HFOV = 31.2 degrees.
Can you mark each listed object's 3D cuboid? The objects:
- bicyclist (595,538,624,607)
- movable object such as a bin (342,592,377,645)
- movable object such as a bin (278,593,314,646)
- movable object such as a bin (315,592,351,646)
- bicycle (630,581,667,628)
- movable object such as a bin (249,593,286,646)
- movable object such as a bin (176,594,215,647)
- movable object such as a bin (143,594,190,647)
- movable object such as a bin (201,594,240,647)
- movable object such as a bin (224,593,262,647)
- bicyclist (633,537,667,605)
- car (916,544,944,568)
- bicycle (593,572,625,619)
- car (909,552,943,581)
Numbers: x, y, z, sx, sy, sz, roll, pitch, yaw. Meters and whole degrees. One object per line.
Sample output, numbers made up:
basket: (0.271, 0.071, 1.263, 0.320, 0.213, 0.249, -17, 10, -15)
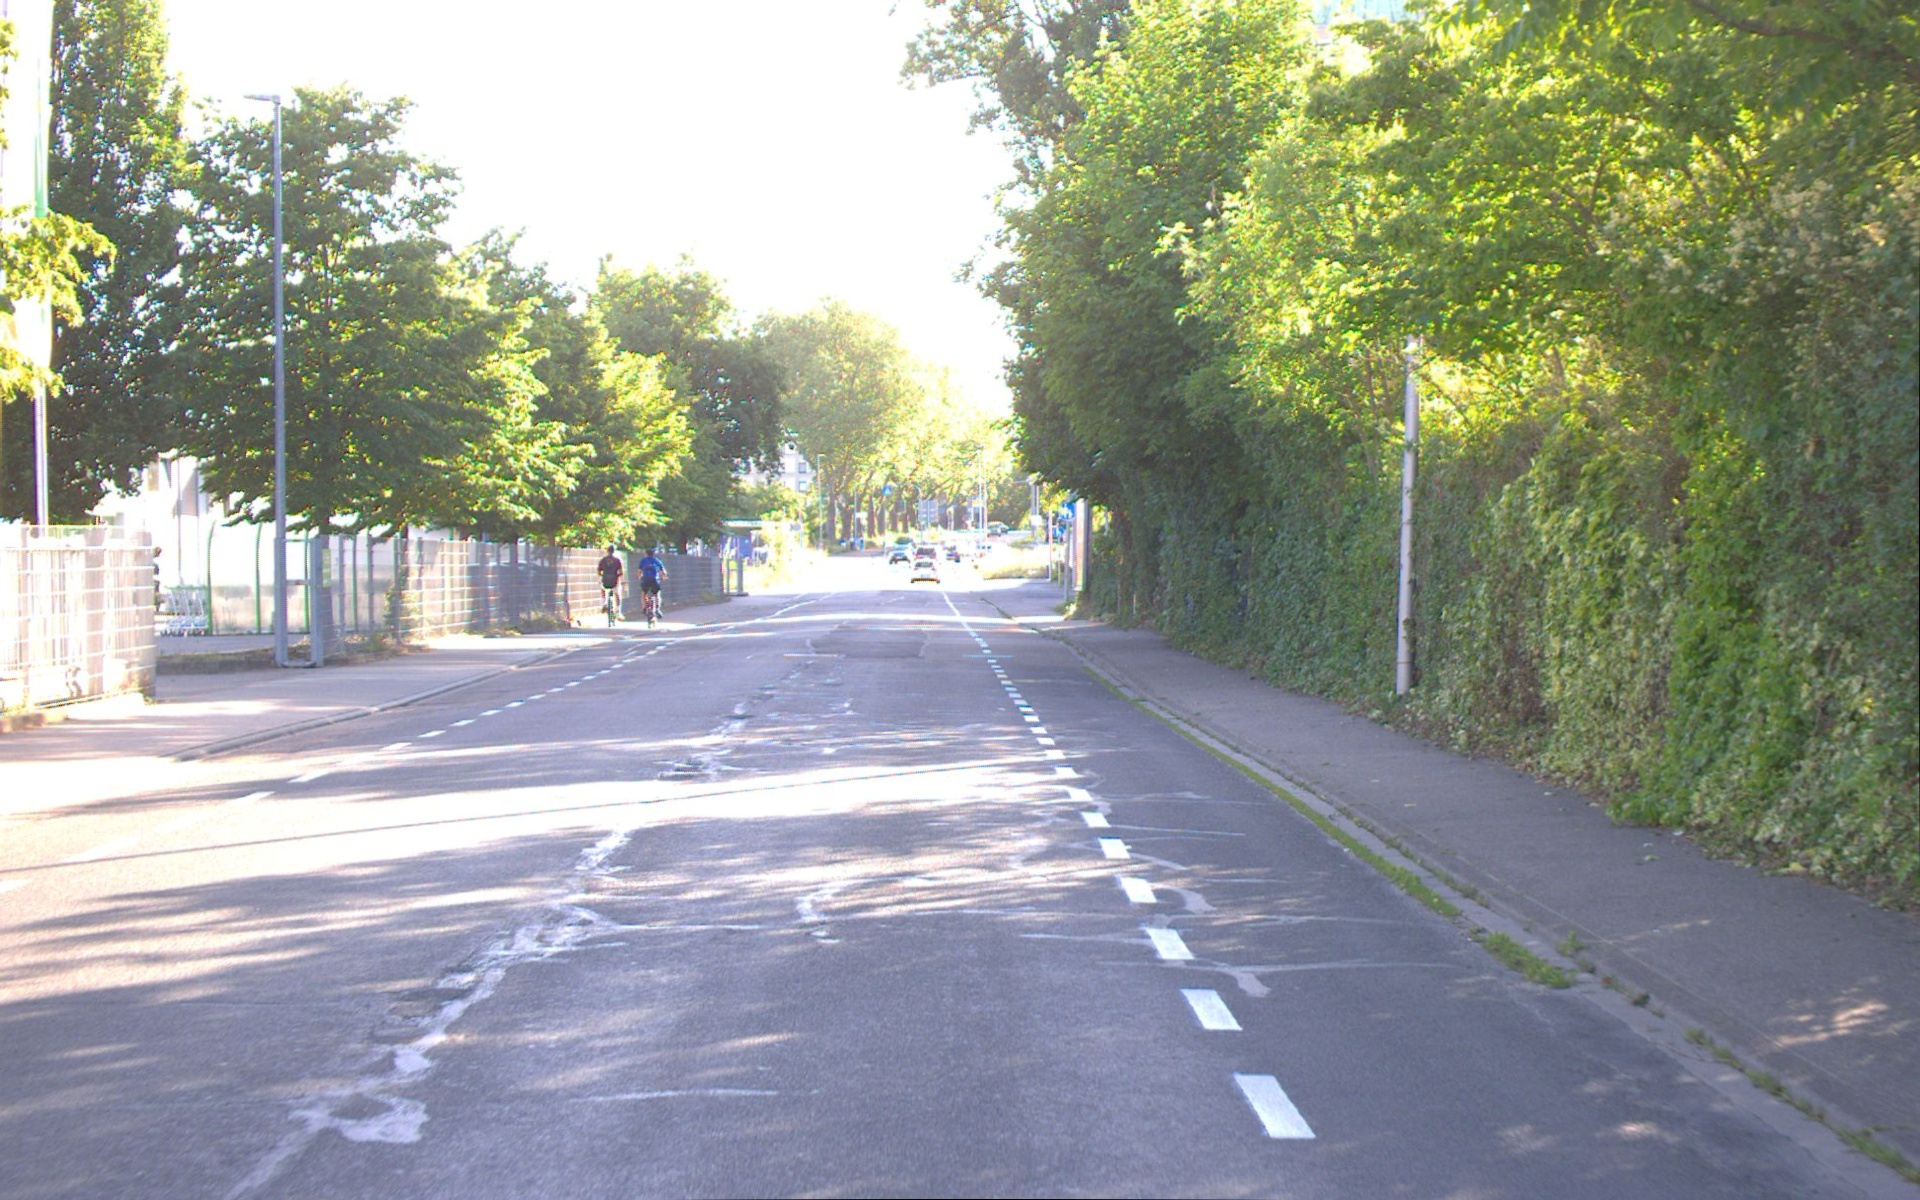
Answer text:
bicyclist: (-7.944, -0.623, 77.948, 0.560, 1.528, 0.689, 1, 0, -1)
movable object such as a bin: (-12.308, 0.379, 70.533, 0.463, 1.072, 1.570, 0, 0, -1)
movable object such as a bin: (-13.589, 0.391, 70.389, 0.463, 1.072, 1.570, 0, 0, -1)
movable object such as a bin: (-12.852, 0.384, 70.467, 0.463, 1.072, 1.570, 0, 0, -1)
bicycle: (-7.055, 0.097, 77.863, 0.689, 1.030, 1.351, 1, 1, -1)
movable object such as a bin: (-14.163, 0.396, 70.324, 0.463, 1.072, 1.570, 0, 0, -1)
movable object such as a bin: (-15.683, 0.413, 70.542, 0.463, 1.072, 1.570, 0, 0, -1)
movable object such as a bin: (-16.267, 0.420, 70.470, 0.619, 1.072, 1.570, 0, 0, -1)
movable object such as a bin: (-15.168, 0.408, 70.523, 0.463, 1.072, 1.570, 0, 0, -1)
movable object such as a bin: (-14.676, 0.402, 70.421, 0.463, 1.072, 1.570, 0, 0, -1)
bicyclist: (-7.012, -0.659, 77.816, 0.689, 1.527, 0.722, 1, 0, -1)
car: (-2.173, -3.195, 248.587, 1.942, 1.645, 4.310, 1, 1, -1)
bicycle: (-7.964, -0.103, 78.031, 0.563, 1.030, 1.351, 1, 1, -1)
car: (-2.010, -1.983, 204.528, 1.942, 1.645, 4.310, 1, 1, -1)
